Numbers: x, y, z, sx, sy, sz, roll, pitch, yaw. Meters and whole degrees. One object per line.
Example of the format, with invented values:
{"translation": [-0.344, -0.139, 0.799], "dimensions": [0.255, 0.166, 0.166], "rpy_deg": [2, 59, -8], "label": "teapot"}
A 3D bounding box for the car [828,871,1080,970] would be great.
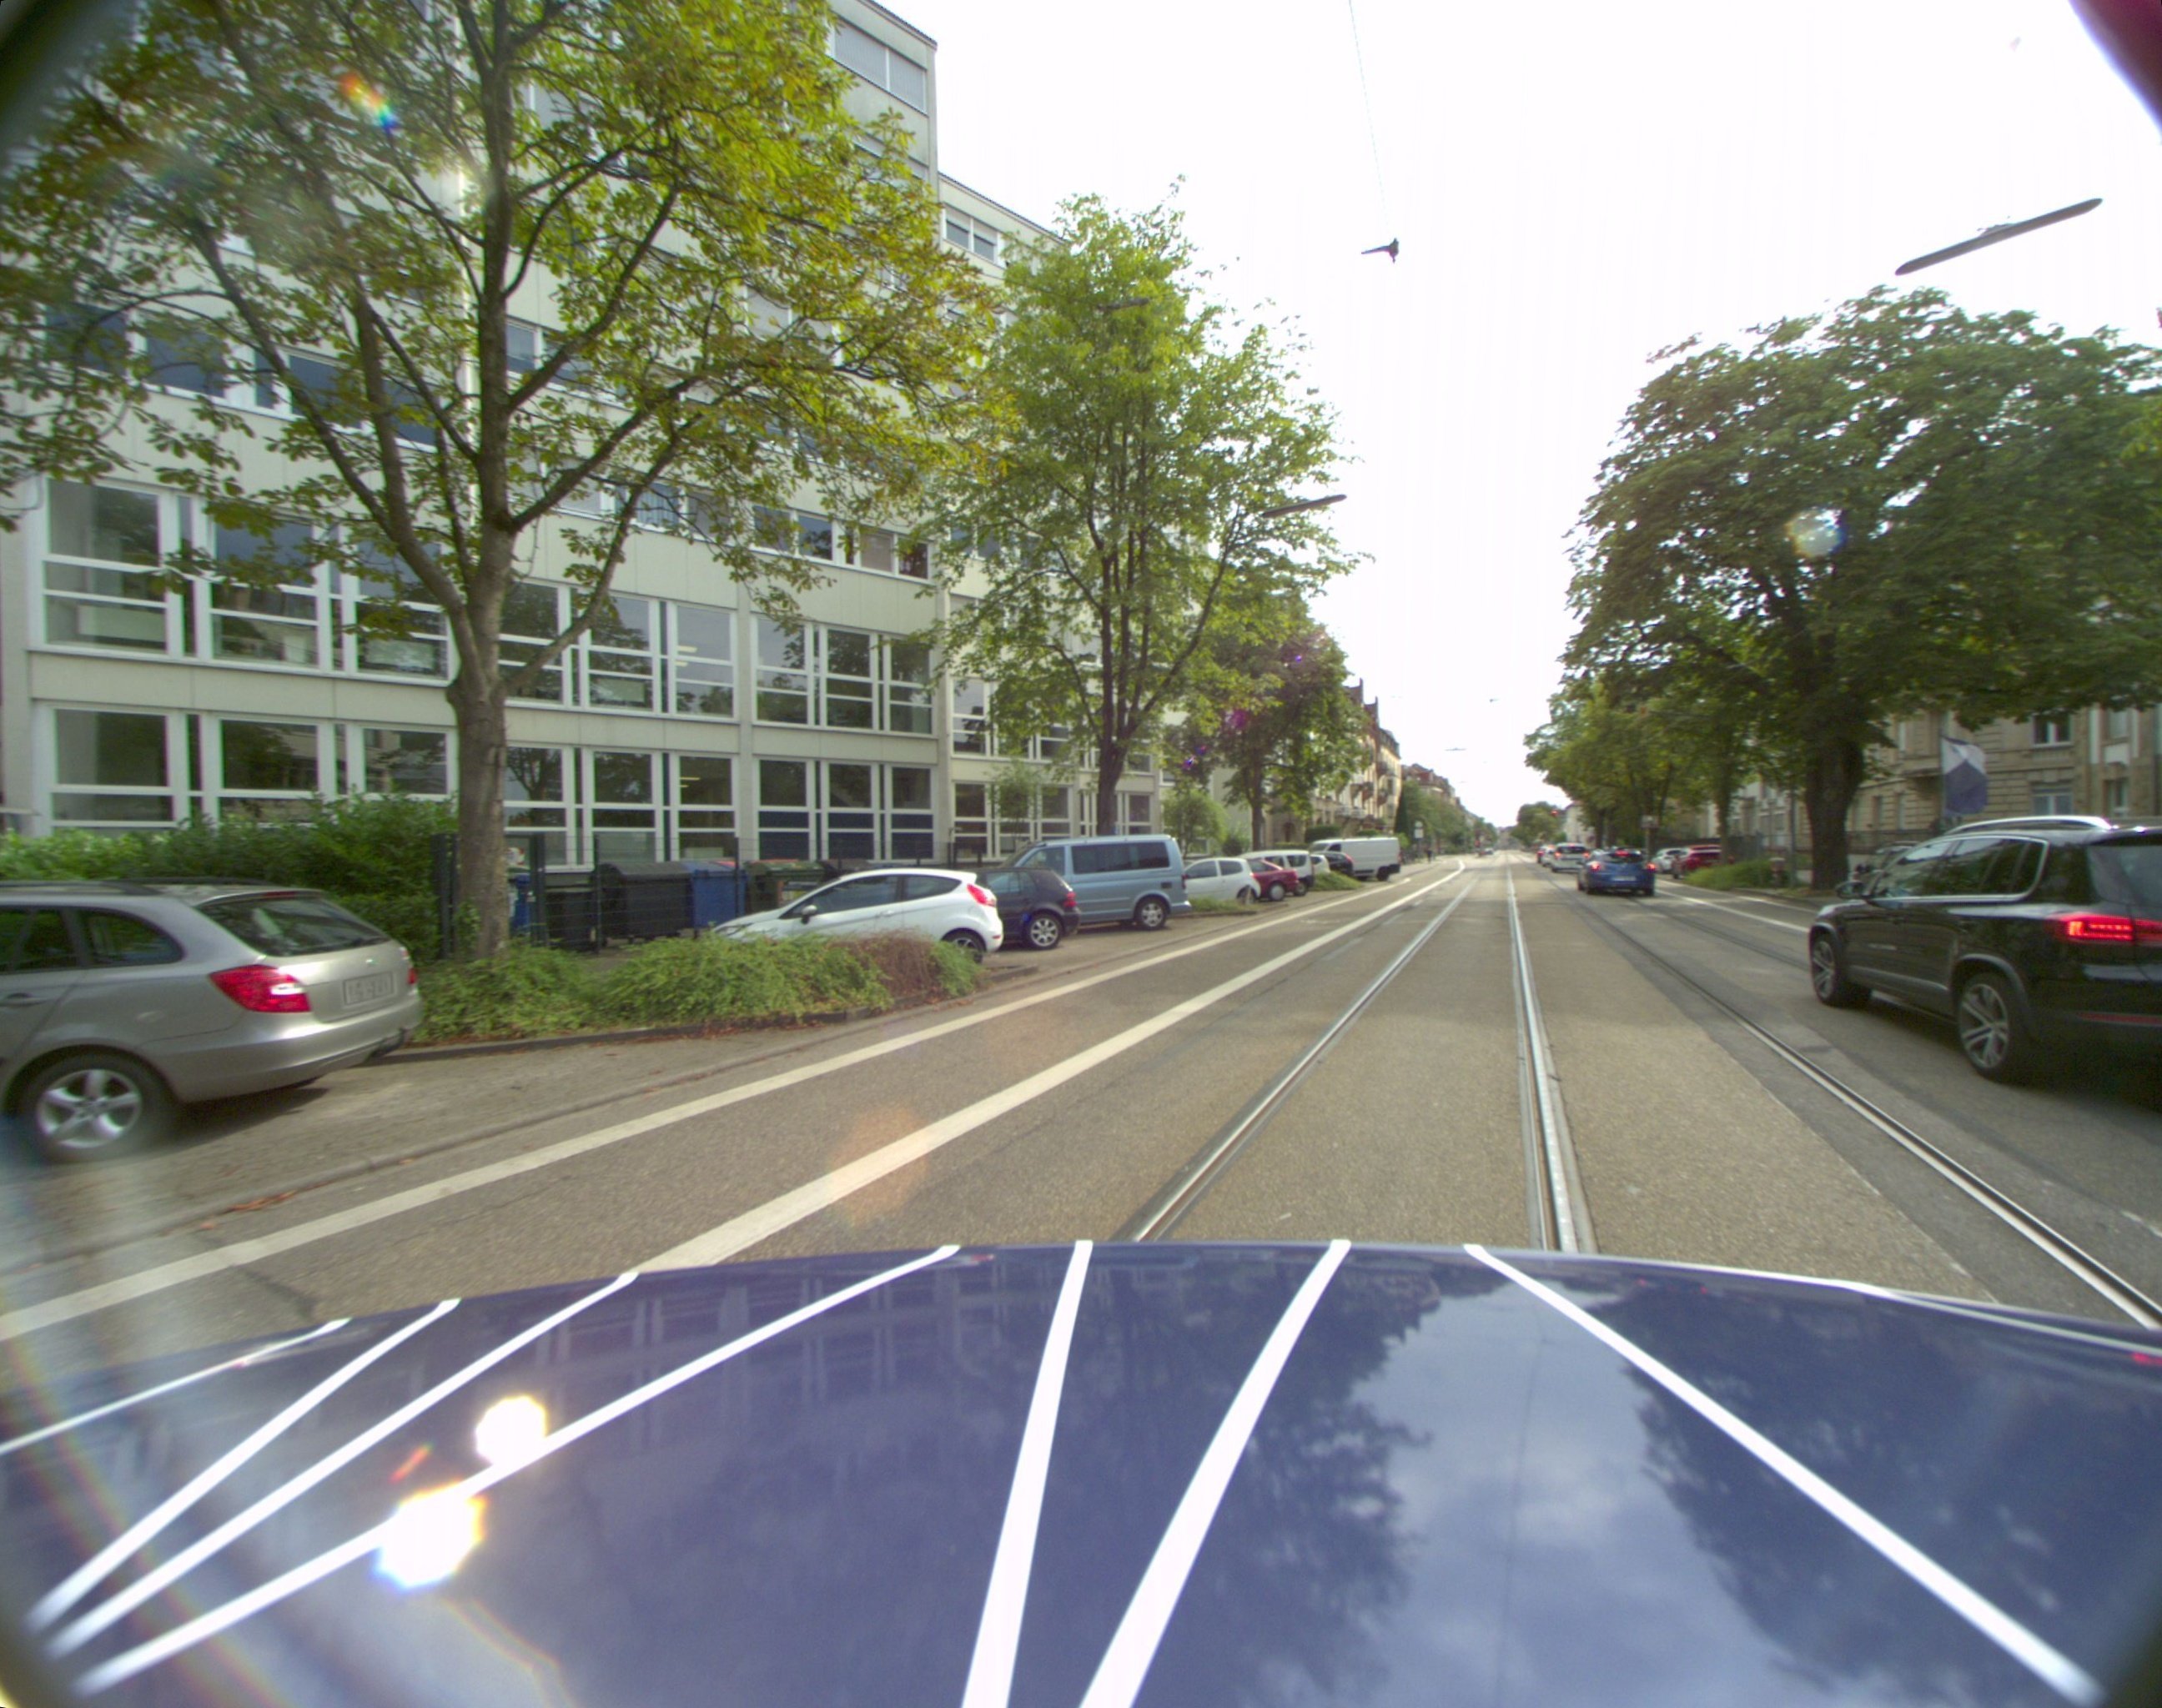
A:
{"translation": [-2.204, 1.044, 13.003], "dimensions": [3.975, 1.379, 1.812], "rpy_deg": [-1, -1, -17], "label": "car"}

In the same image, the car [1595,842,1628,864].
{"translation": [41.662, -0.114, 59.710], "dimensions": [1.656, 1.624, 3.913], "rpy_deg": [-1, 0, 28], "label": "car"}

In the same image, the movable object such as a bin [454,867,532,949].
{"translation": [-12.054, 1.060, 15.574], "dimensions": [1.182, 1.559, 1.171], "rpy_deg": [-2, 1, -41], "label": "movable object such as a bin"}

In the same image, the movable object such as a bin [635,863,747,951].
{"translation": [-7.277, 0.946, 14.211], "dimensions": [1.332, 1.495, 1.340], "rpy_deg": [-1, 1, 32], "label": "movable object such as a bin"}

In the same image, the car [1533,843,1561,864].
{"translation": [36.628, -0.079, 59.753], "dimensions": [1.733, 1.603, 4.342], "rpy_deg": [0, 1, 29], "label": "car"}

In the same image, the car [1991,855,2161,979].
{"translation": [14.823, 0.780, 10.506], "dimensions": [1.629, 1.456, 3.580], "rpy_deg": [-1, 0, 28], "label": "car"}

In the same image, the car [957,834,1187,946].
{"translation": [-0.222, 0.657, 15.761], "dimensions": [4.349, 2.052, 1.997], "rpy_deg": [-1, 1, -18], "label": "car"}

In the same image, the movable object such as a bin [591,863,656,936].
{"translation": [-10.485, 1.000, 17.398], "dimensions": [1.177, 1.559, 1.177], "rpy_deg": [-2, 1, -33], "label": "movable object such as a bin"}

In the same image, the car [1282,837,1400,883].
{"translation": [13.394, 0.279, 39.192], "dimensions": [5.441, 2.163, 2.145], "rpy_deg": [-1, 1, -13], "label": "car"}

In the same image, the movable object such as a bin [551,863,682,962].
{"translation": [-7.842, 0.938, 12.872], "dimensions": [1.327, 1.520, 1.418], "rpy_deg": [-1, 1, 32], "label": "movable object such as a bin"}

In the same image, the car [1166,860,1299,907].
{"translation": [4.848, 0.905, 24.456], "dimensions": [3.771, 1.331, 1.812], "rpy_deg": [-1, 1, -13], "label": "car"}

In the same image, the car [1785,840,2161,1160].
{"translation": [7.031, 0.718, 5.483], "dimensions": [1.733, 1.619, 4.386], "rpy_deg": [1, 1, 27], "label": "car"}

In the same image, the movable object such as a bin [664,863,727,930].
{"translation": [-9.184, 0.972, 18.086], "dimensions": [1.177, 1.505, 1.177], "rpy_deg": [-2, 1, -33], "label": "movable object such as a bin"}

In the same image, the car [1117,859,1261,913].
{"translation": [3.050, 0.859, 21.677], "dimensions": [3.648, 1.322, 1.765], "rpy_deg": [-1, 1, -17], "label": "car"}

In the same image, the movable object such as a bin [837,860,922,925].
{"translation": [-4.799, 0.890, 18.135], "dimensions": [1.332, 1.450, 1.403], "rpy_deg": [-1, 1, 32], "label": "movable object such as a bin"}

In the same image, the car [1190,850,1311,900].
{"translation": [6.006, 0.705, 27.042], "dimensions": [3.771, 1.609, 1.812], "rpy_deg": [-1, 1, -13], "label": "car"}

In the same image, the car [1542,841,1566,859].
{"translation": [51.367, -0.457, 82.599], "dimensions": [1.796, 1.813, 4.686], "rpy_deg": [-1, 0, 28], "label": "car"}

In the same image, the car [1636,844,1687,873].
{"translation": [33.425, 0.239, 43.838], "dimensions": [1.656, 1.592, 3.913], "rpy_deg": [-1, 0, 28], "label": "car"}

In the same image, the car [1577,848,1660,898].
{"translation": [17.678, 0.563, 25.168], "dimensions": [1.733, 1.488, 4.386], "rpy_deg": [0, 0, 28], "label": "car"}

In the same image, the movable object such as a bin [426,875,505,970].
{"translation": [-9.872, 1.052, 12.179], "dimensions": [0.914, 1.399, 1.021], "rpy_deg": [-2, 1, -41], "label": "movable object such as a bin"}

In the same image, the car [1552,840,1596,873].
{"translation": [29.706, 0.106, 45.890], "dimensions": [1.733, 1.873, 4.386], "rpy_deg": [-1, 0, 27], "label": "car"}

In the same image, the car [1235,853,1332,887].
{"translation": [8.759, 0.652, 32.897], "dimensions": [3.648, 1.322, 1.765], "rpy_deg": [-1, 1, -17], "label": "car"}

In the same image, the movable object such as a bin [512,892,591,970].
{"translation": [-8.138, 1.157, 11.690], "dimensions": [0.784, 1.099, 0.744], "rpy_deg": [-1, 1, 34], "label": "movable object such as a bin"}

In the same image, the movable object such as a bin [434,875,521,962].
{"translation": [-10.569, 1.089, 13.312], "dimensions": [1.121, 1.384, 1.060], "rpy_deg": [-2, 1, -41], "label": "movable object such as a bin"}

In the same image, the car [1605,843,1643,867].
{"translation": [38.065, 0.052, 53.325], "dimensions": [1.656, 1.624, 3.913], "rpy_deg": [-1, 0, 28], "label": "car"}

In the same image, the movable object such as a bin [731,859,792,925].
{"translation": [-7.989, 0.916, 19.002], "dimensions": [1.177, 1.559, 1.177], "rpy_deg": [-2, 1, -33], "label": "movable object such as a bin"}

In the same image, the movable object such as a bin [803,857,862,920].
{"translation": [-6.523, 0.865, 19.928], "dimensions": [1.177, 1.559, 1.177], "rpy_deg": [-2, 1, -33], "label": "movable object such as a bin"}

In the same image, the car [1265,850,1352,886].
{"translation": [10.830, 0.652, 36.390], "dimensions": [3.642, 1.580, 1.768], "rpy_deg": [-1, 1, 2], "label": "car"}

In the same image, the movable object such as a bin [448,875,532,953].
{"translation": [-11.255, 1.099, 14.468], "dimensions": [1.182, 1.362, 1.171], "rpy_deg": [-2, 1, -41], "label": "movable object such as a bin"}

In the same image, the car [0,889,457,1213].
{"translation": [-6.454, 1.078, 4.384], "dimensions": [4.055, 1.528, 1.593], "rpy_deg": [-1, 1, -18], "label": "car"}

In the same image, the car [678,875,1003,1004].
{"translation": [-3.137, 1.042, 10.322], "dimensions": [3.865, 1.385, 1.631], "rpy_deg": [-1, 0, -18], "label": "car"}

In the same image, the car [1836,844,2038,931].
{"translation": [18.057, 0.621, 16.262], "dimensions": [1.656, 1.624, 3.732], "rpy_deg": [-1, 0, 28], "label": "car"}

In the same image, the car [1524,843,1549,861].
{"translation": [44.235, -0.198, 73.803], "dimensions": [1.849, 1.603, 4.342], "rpy_deg": [-1, 0, 28], "label": "car"}

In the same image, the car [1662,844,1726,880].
{"translation": [29.108, 0.346, 36.188], "dimensions": [1.656, 1.624, 3.913], "rpy_deg": [-1, 0, 28], "label": "car"}

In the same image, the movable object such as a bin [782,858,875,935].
{"translation": [-5.563, 0.900, 16.783], "dimensions": [1.332, 1.586, 1.356], "rpy_deg": [-1, 1, 32], "label": "movable object such as a bin"}

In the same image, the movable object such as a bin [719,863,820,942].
{"translation": [-6.361, 0.949, 15.535], "dimensions": [1.332, 1.493, 1.356], "rpy_deg": [-1, 1, 32], "label": "movable object such as a bin"}
